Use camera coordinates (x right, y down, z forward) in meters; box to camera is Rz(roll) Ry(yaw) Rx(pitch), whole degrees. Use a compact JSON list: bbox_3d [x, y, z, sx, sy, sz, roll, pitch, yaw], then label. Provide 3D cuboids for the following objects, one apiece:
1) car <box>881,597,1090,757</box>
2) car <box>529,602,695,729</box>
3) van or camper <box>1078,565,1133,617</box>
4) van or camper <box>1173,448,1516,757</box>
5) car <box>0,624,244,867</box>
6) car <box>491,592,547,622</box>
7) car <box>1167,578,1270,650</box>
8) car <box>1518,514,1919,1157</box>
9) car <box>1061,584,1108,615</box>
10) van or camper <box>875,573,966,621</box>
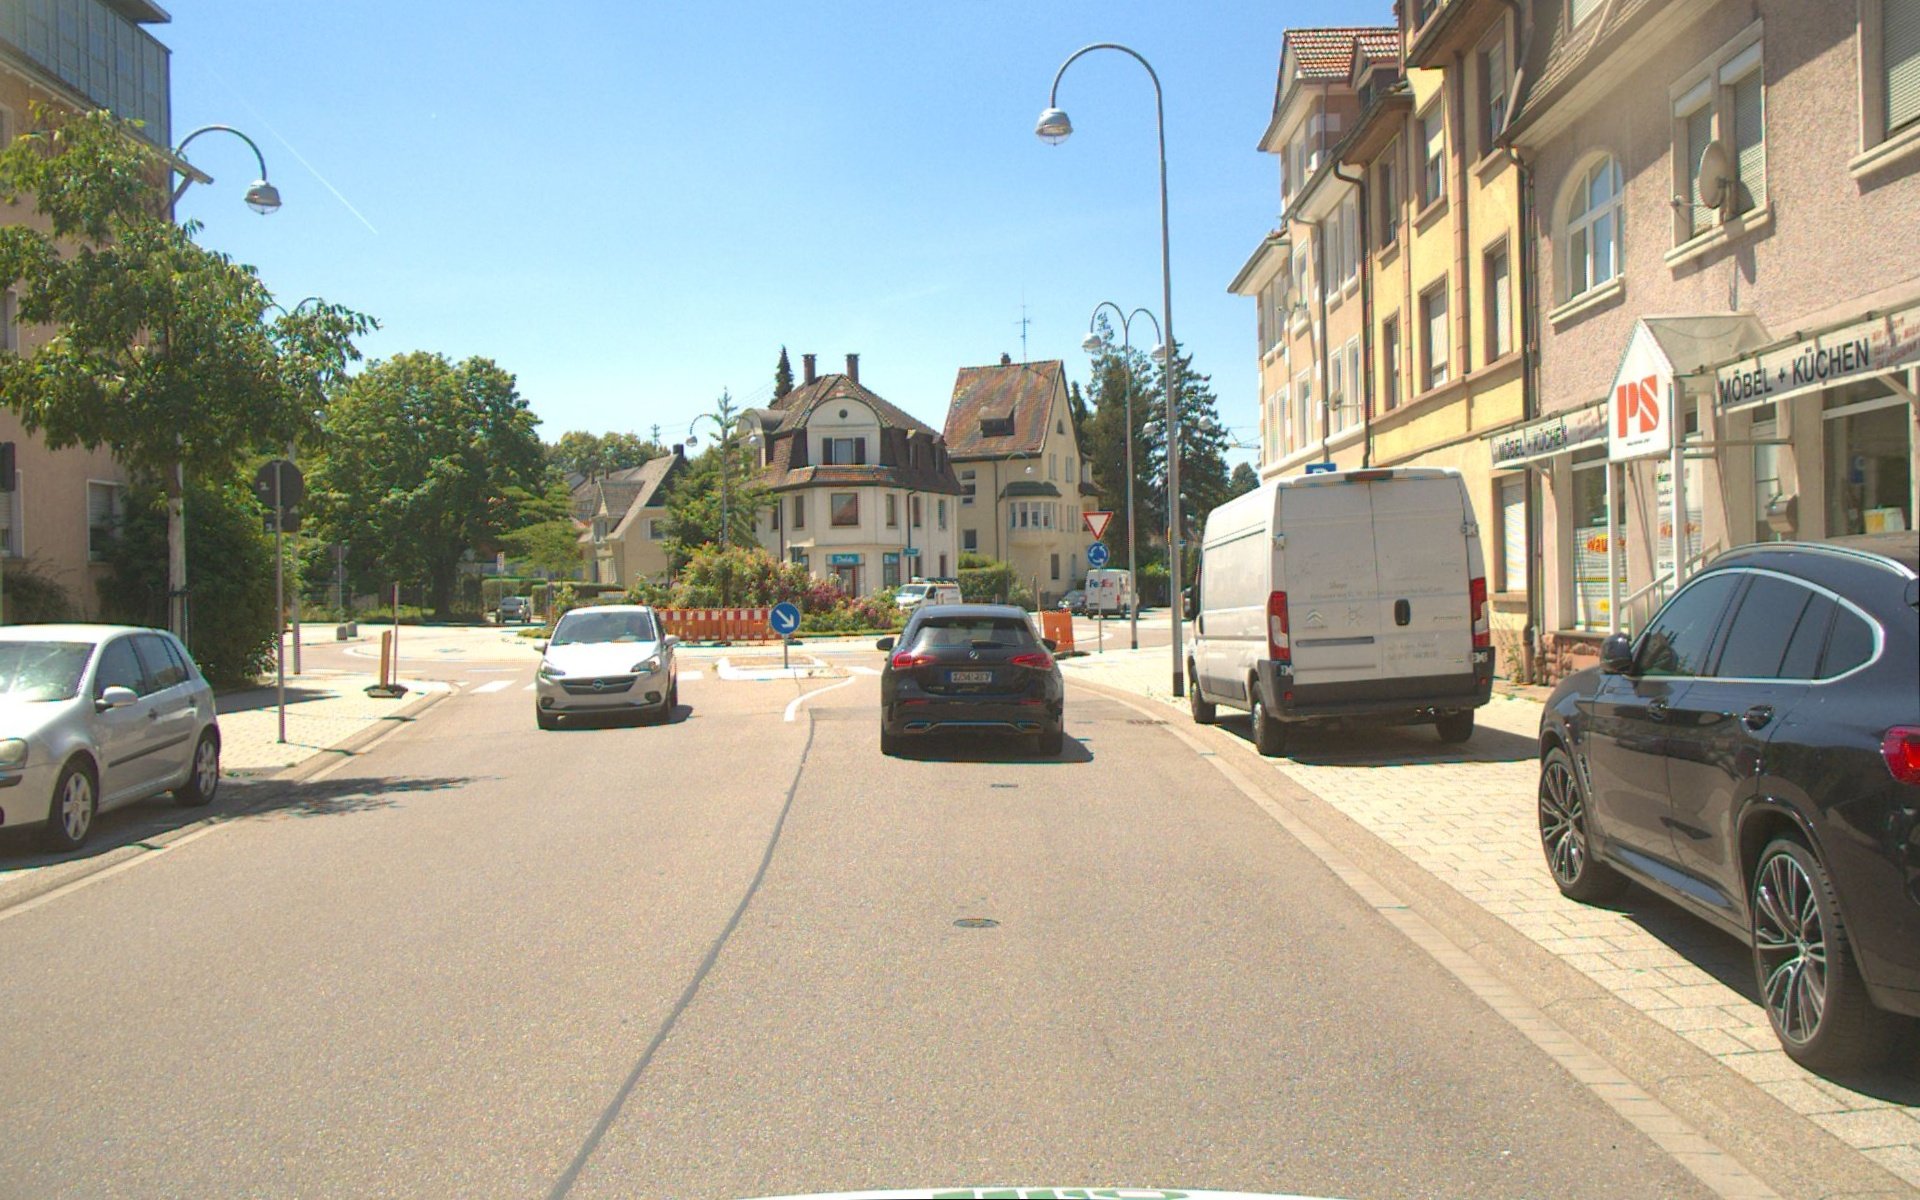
[{"bbox_3d":[0.179,0.720,17.113,1.914,1.452,3.998,0,-1,-2],"label":"car"},{"bbox_3d":[-4.586,0.806,22.263,1.627,1.523,3.756,-2,0,-4],"label":"car"},{"bbox_3d":[7.799,-0.487,88.368,2.159,2.656,4.003,-1,0,16],"label":"van or camper"},{"bbox_3d":[3.761,0.013,17.450,2.121,2.634,5.765,-2,0,-1],"label":"van or camper"},{"bbox_3d":[-6.849,0.920,11.950,1.955,1.445,4.082,-1,0,-7],"label":"car"},{"bbox_3d":[-25.924,0.441,97.281,1.747,1.625,3.923,-1,-2,9],"label":"car"},{"bbox_3d":[6.142,0.314,39.791,1.728,1.556,4.690,-2,0,0],"label":"car"},{"bbox_3d":[3.562,0.556,6.157,1.855,1.635,4.367,-3,0,6],"label":"car"},{"bbox_3d":[7.374,-0.025,97.390,1.880,1.803,4.002,1,0,17],"label":"car"},{"bbox_3d":[-1.842,-0.121,78.732,1.955,2.210,5.405,0,0,28],"label":"van or camper"}]
